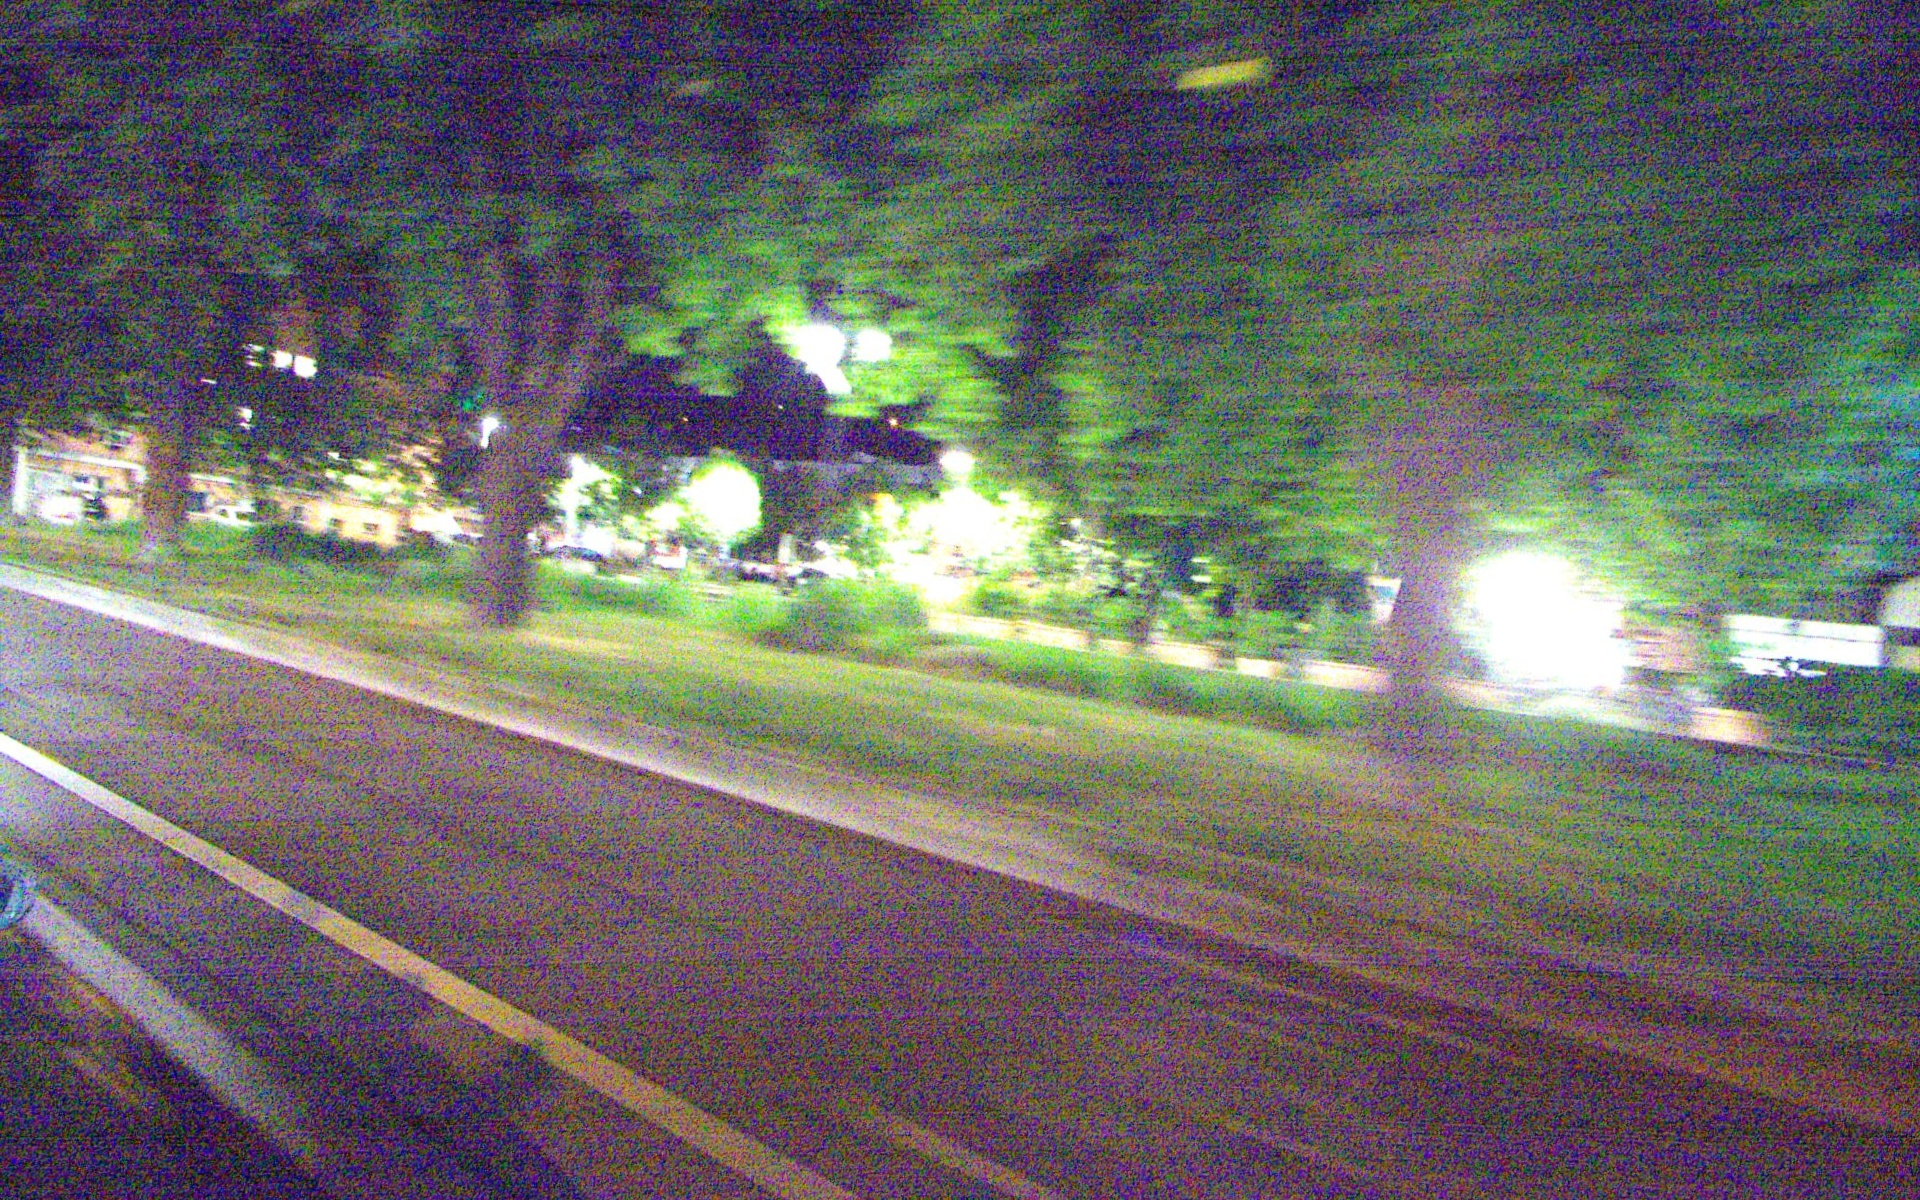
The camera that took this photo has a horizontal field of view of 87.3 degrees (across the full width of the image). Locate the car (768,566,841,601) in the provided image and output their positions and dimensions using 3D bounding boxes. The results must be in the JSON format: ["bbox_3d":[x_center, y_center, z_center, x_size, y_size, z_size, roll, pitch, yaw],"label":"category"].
[{"bbox_3d":[-10.146,-1.081,66.031,2.046,1.788,4.538,7,1,34],"label":"car"}]

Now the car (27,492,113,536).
[{"bbox_3d":[-37.629,-3.662,42.508,4.408,1.413,1.514,7,1,32],"label":"car"}]

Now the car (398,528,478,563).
[{"bbox_3d":[-28.907,-3.030,55.672,4.170,1.446,1.995,7,1,32],"label":"car"}]

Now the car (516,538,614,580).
[{"bbox_3d":[-19.476,-2.019,49.531,4.810,1.532,1.890,7,1,31],"label":"car"}]

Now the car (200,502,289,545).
[{"bbox_3d":[-34.014,-3.631,47.823,3.930,1.553,1.785,7,1,28],"label":"car"}]

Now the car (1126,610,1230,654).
[{"bbox_3d":[10.276,1.489,47.493,4.230,1.527,1.994,7,1,32],"label":"car"}]

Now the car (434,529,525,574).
[{"bbox_3d":[-21.631,-2.206,45.265,4.031,1.553,1.769,7,1,33],"label":"car"}]
